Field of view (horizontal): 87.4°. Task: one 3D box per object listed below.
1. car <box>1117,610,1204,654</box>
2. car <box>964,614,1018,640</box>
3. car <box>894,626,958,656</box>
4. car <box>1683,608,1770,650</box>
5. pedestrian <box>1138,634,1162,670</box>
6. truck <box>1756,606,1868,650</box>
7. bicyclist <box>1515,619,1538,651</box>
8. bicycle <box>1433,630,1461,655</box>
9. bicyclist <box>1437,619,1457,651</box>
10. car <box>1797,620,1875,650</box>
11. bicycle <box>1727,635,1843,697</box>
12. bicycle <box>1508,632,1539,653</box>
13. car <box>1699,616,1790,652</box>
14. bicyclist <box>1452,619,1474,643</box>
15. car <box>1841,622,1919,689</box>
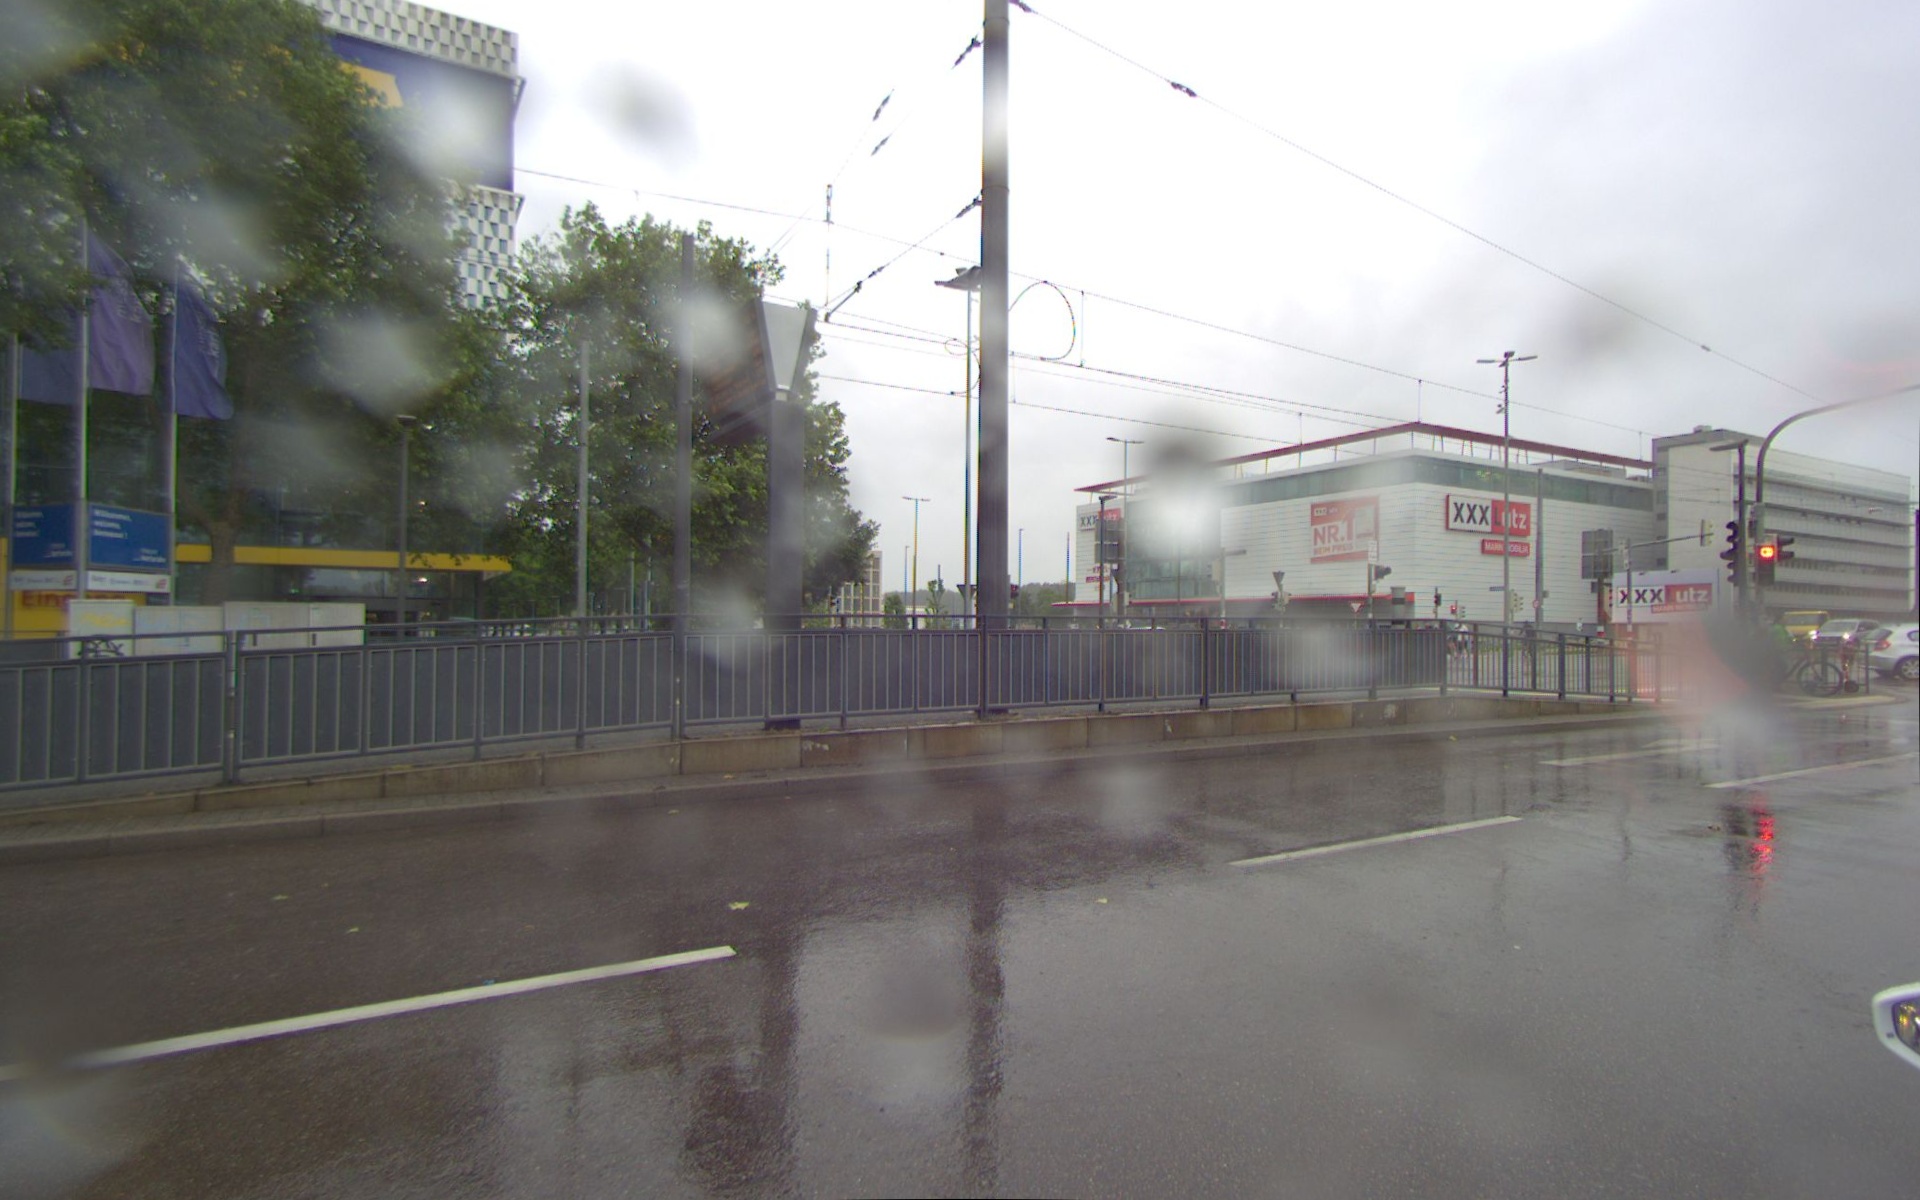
[{"bbox_3d":[9.983,1.561,50.343,1.976,2.040,4.295,2,0,-29],"label":"car"},{"bbox_3d":[2.182,1.894,70.212,3.723,1.645,2.001,2,0,2],"label":"car"},{"bbox_3d":[-2.215,2.635,65.001,1.984,1.656,4.168,1,2,-40],"label":"car"},{"bbox_3d":[39.576,1.504,51.879,3.947,2.040,1.987,2,0,-26],"label":"car"},{"bbox_3d":[8.292,2.271,43.783,0.863,1.557,0.560,2,0,-31],"label":"pedestrian"},{"bbox_3d":[47.959,1.602,56.478,7.542,2.309,2.341,2,0,-30],"label":"truck"},{"bbox_3d":[27.040,1.667,47.940,0.639,1.483,0.681,2,0,-29],"label":"bicyclist"},{"bbox_3d":[22.204,1.939,45.758,1.493,1.075,0.408,2,0,-33],"label":"bicycle"},{"bbox_3d":[22.137,1.607,45.697,0.643,1.418,0.529,2,0,-33],"label":"bicyclist"},{"bbox_3d":[43.717,1.753,50.135,3.780,1.354,1.582,2,0,-26],"label":"car"},{"bbox_3d":[16.759,1.315,20.454,0.409,1.048,1.742,2,3,-31],"label":"bicycle"},{"bbox_3d":[26.843,2.026,47.816,1.688,1.000,0.448,2,0,-30],"label":"bicycle"},{"bbox_3d":[35.611,1.559,45.581,3.823,1.512,1.693,2,0,-25],"label":"car"},{"bbox_3d":[24.696,1.520,49.307,0.639,1.149,0.681,2,0,-29],"label":"bicyclist"},{"bbox_3d":[25.760,1.476,26.074,4.004,1.682,1.618,2,0,27],"label":"car"}]
